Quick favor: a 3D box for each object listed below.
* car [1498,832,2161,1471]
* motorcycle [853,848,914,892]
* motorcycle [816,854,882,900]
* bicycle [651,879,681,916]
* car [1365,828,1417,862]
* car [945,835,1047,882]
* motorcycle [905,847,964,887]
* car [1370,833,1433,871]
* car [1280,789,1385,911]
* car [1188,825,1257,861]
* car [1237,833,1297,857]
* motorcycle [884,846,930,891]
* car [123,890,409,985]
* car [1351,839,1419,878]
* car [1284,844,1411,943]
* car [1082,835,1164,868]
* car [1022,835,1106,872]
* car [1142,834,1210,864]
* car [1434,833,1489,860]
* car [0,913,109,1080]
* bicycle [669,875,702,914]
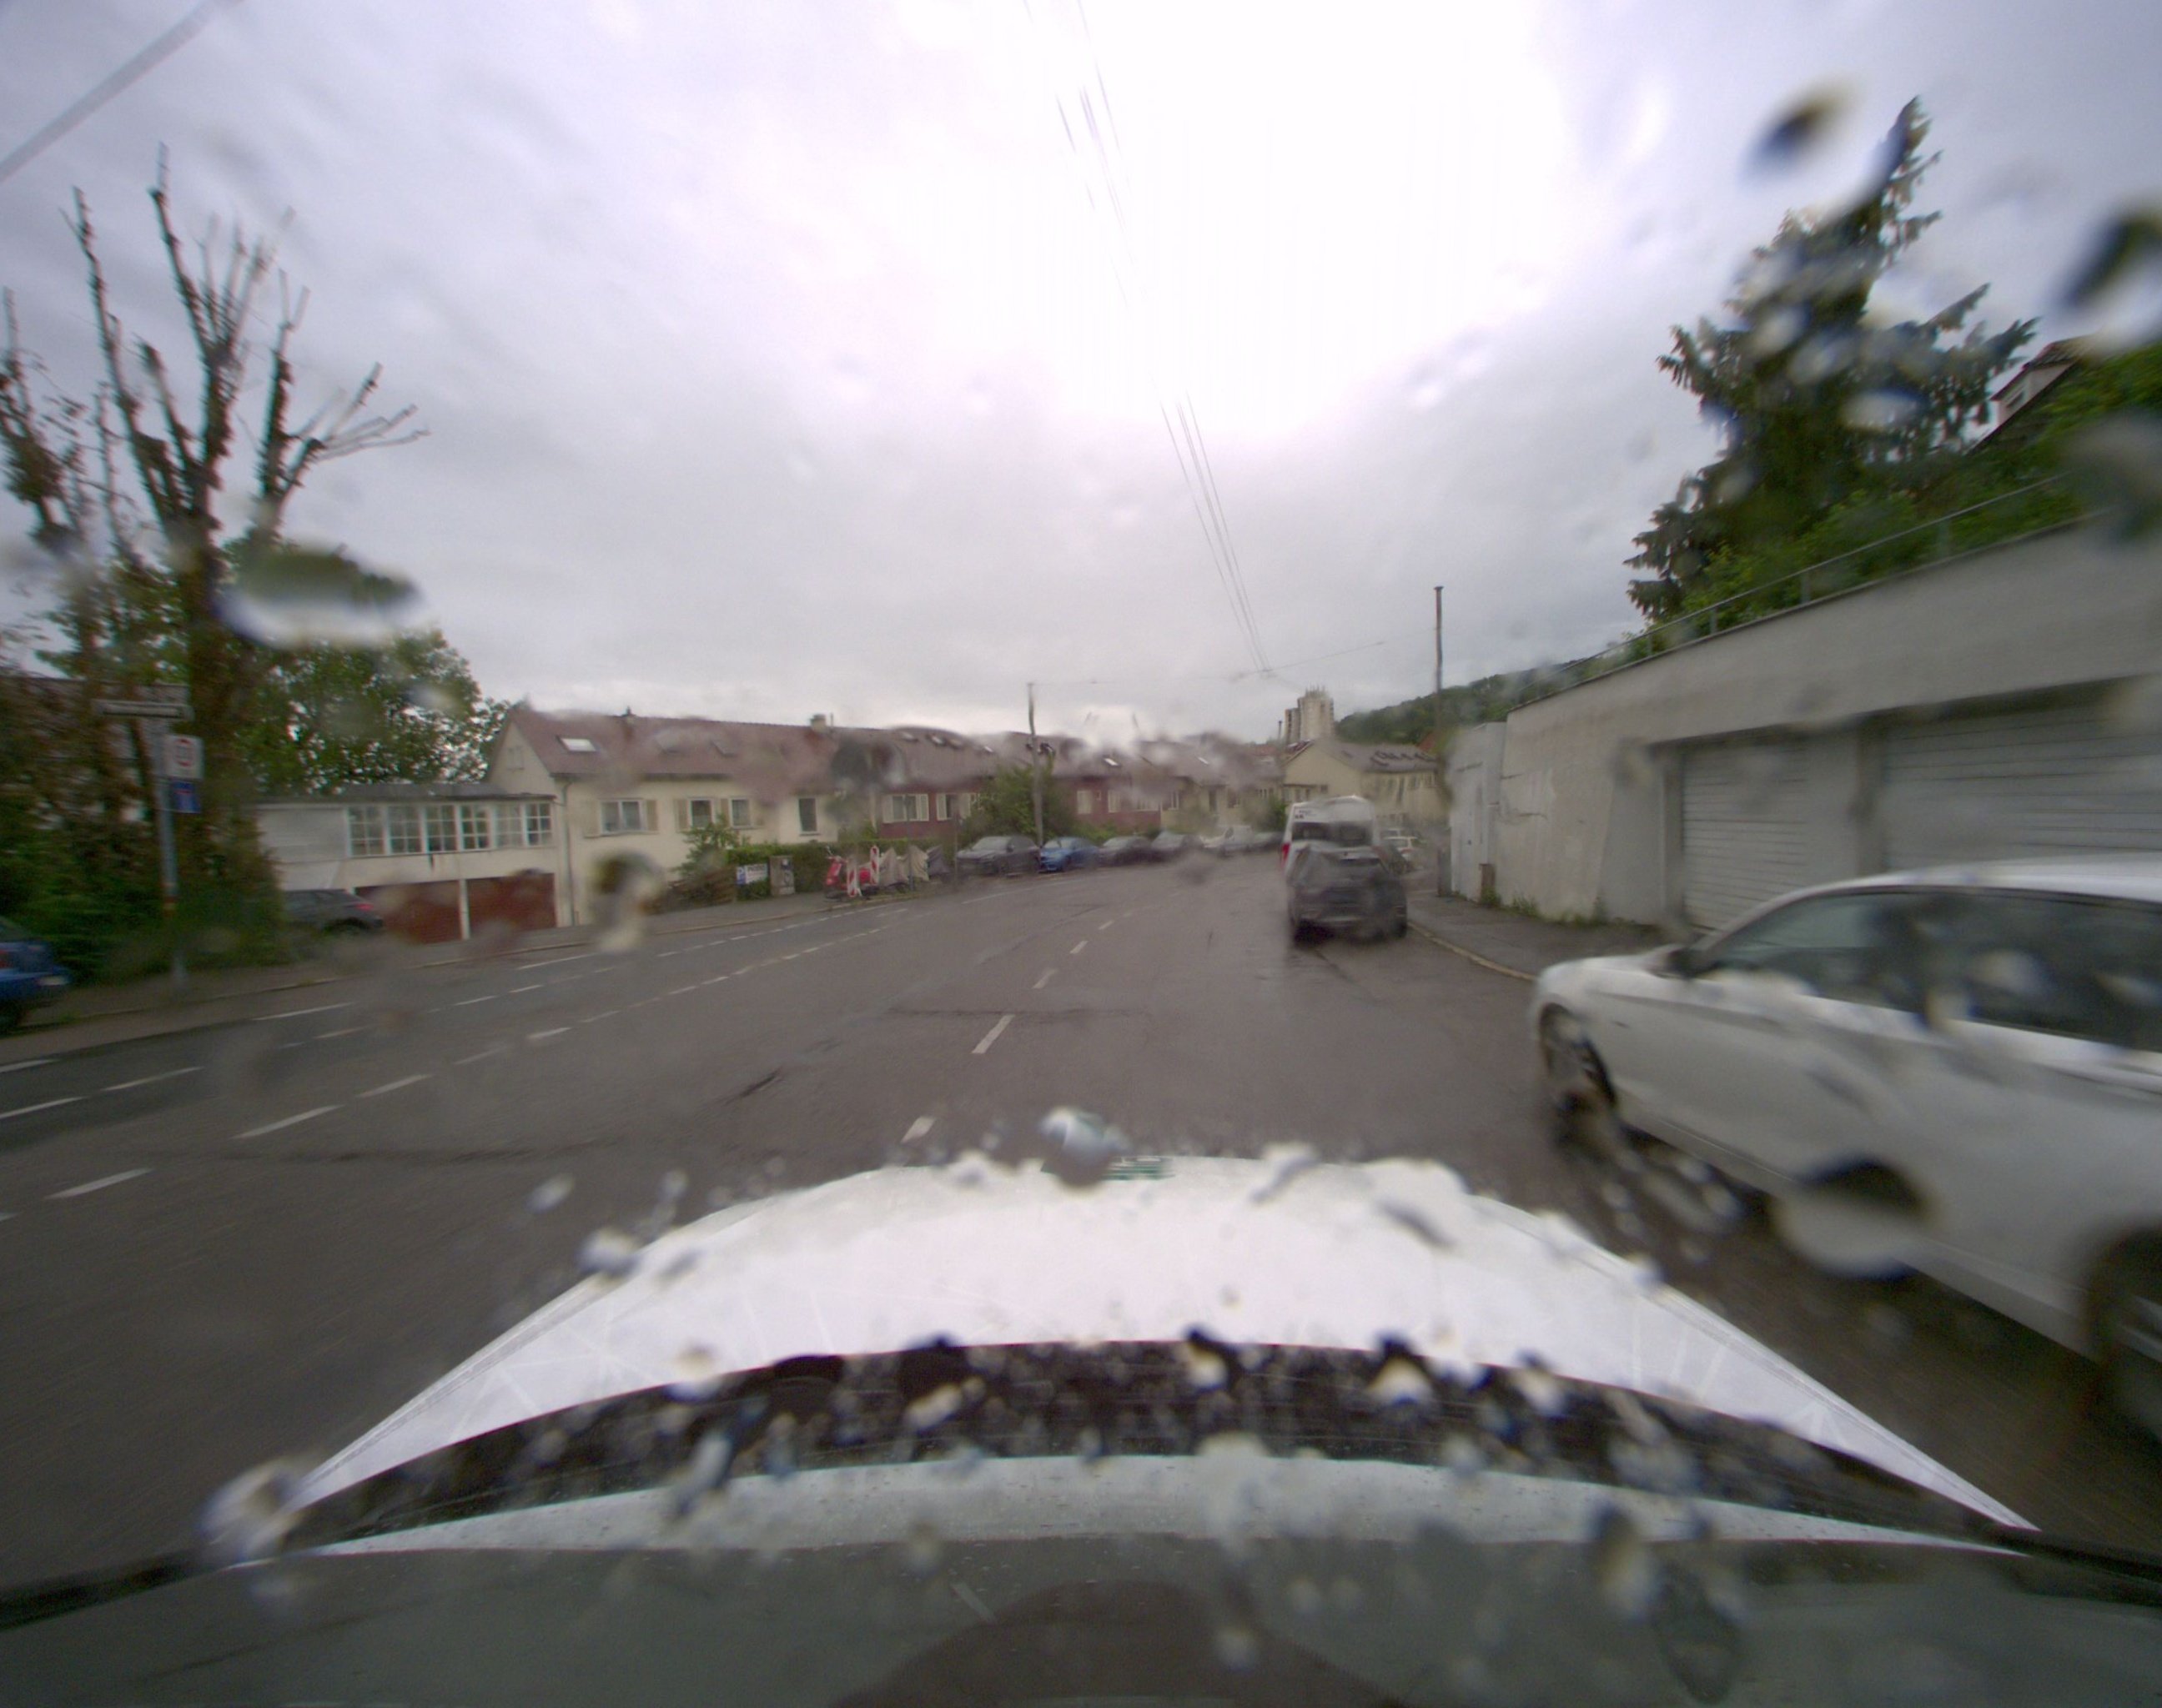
[{"bbox_3d":[3.319,0.661,2.917,1.698,1.414,4.044,-3,-1,3],"label":"car"},{"bbox_3d":[-5.890,0.470,24.264,1.786,1.279,0.514,0,2,21],"label":"motorcycle"},{"bbox_3d":[-6.421,0.617,22.646,0.504,1.140,1.934,-3,1,28],"label":"motorcycle"},{"bbox_3d":[-12.495,1.323,24.488,1.311,1.035,0.307,-7,-5,40],"label":"bicycle"},{"bbox_3d":[18.801,-0.586,49.287,2.286,1.939,4.353,0,2,30],"label":"car"},{"bbox_3d":[-3.079,0.105,30.556,1.905,1.576,4.412,1,2,23],"label":"car"},{"bbox_3d":[-4.790,0.416,26.703,1.900,1.271,0.573,0,2,-10],"label":"motorcycle"},{"bbox_3d":[15.243,-0.130,38.586,1.786,1.649,4.237,0,2,35],"label":"car"},{"bbox_3d":[6.250,-0.082,20.335,2.082,2.542,5.645,-2,0,17],"label":"car"},{"bbox_3d":[8.668,-0.737,49.420,1.831,2.078,5.052,1,2,40],"label":"car"},{"bbox_3d":[12.359,-0.634,53.858,1.791,1.476,4.549,2,2,44],"label":"car"},{"bbox_3d":[-5.400,0.424,25.193,0.616,1.303,1.786,-1,3,-40],"label":"motorcycle"},{"bbox_3d":[-15.096,1.469,15.248,1.534,1.327,3.586,-4,0,38],"label":"car"},{"bbox_3d":[12.740,0.139,34.006,1.662,1.483,4.228,1,2,34],"label":"car"},{"bbox_3d":[4.680,0.610,14.828,1.741,1.495,4.198,-2,0,13],"label":"car"},{"bbox_3d":[2.128,-0.170,39.957,1.791,1.476,4.551,1,2,37],"label":"car"},{"bbox_3d":[-0.649,-0.067,35.232,1.683,1.404,4.500,1,3,27],"label":"car"},{"bbox_3d":[5.273,-0.320,44.638,1.791,1.476,4.552,1,2,34],"label":"car"},{"bbox_3d":[22.246,-0.485,47.563,1.626,1.436,4.198,1,3,44],"label":"car"},{"bbox_3d":[-13.007,1.552,8.090,3.960,1.666,1.821,-1,-2,-36],"label":"car"},{"bbox_3d":[-11.457,1.188,23.566,1.287,1.035,0.307,-7,-5,38],"label":"bicycle"}]
